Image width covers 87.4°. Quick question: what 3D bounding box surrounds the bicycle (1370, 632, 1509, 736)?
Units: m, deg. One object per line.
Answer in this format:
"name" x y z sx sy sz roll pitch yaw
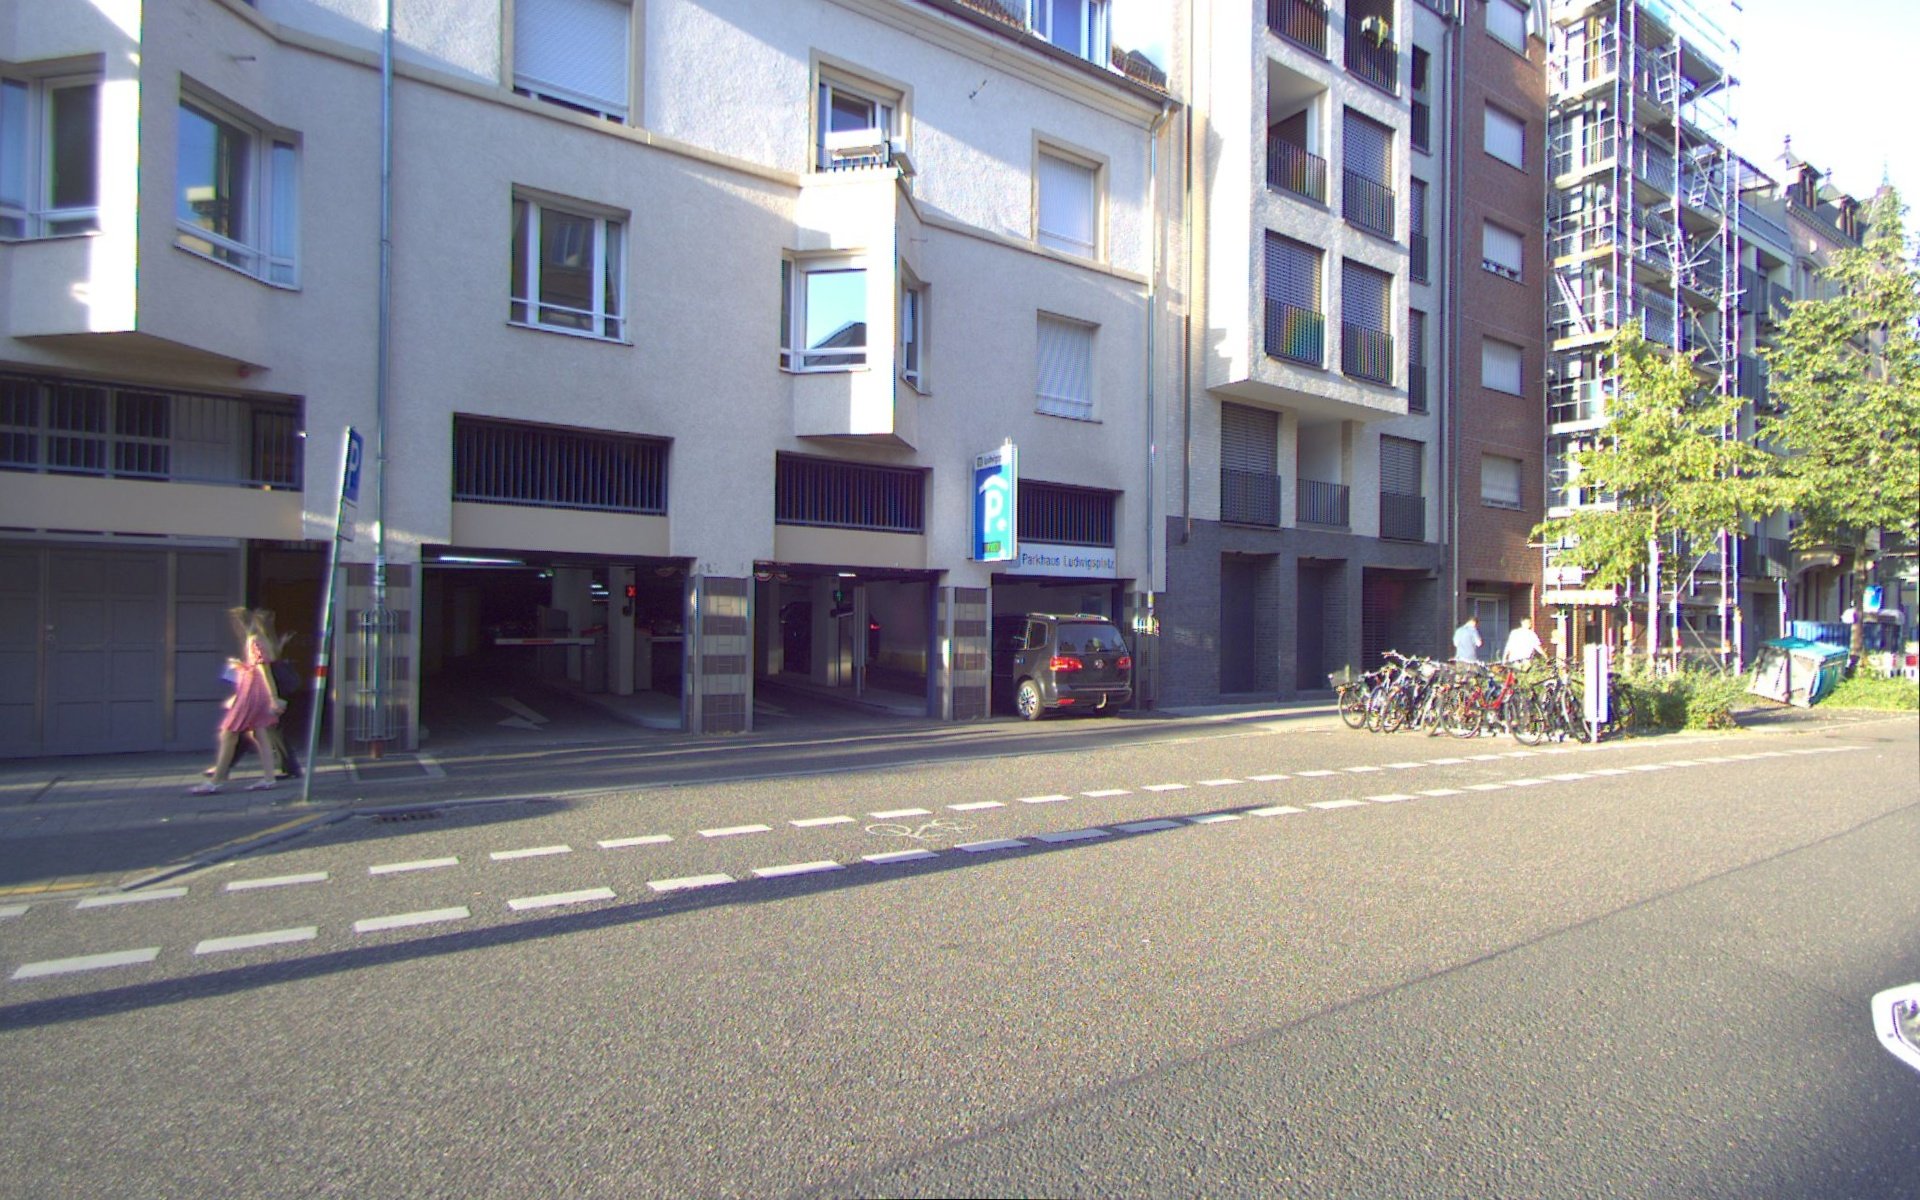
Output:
"bicycle" 7.293 1.207 15.166 3.120 1.391 0.773 2 0 -43

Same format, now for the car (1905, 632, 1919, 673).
"car" 37.185 2.006 36.278 1.868 1.485 4.080 2 0 -32

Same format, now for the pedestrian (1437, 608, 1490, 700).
"pedestrian" 10.145 1.070 20.247 0.689 1.790 0.710 2 0 -42

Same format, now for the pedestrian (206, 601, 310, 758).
"pedestrian" -7.712 0.844 11.072 0.845 1.637 0.713 2 0 -32

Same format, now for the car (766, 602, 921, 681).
"car" -2.868 0.916 23.796 1.977 1.623 4.472 2 0 -30

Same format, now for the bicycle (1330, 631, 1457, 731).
"bicycle" 6.821 1.212 15.678 3.138 1.414 0.579 2 0 -43

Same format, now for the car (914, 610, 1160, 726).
"car" 1.149 1.051 17.225 1.977 1.623 4.472 2 0 -31

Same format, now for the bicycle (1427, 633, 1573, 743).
"bicycle" 7.865 1.205 14.536 3.143 1.414 0.884 2 -1 -43

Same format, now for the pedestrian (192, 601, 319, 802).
"pedestrian" -6.209 0.855 8.878 0.847 1.663 0.712 2 0 -35

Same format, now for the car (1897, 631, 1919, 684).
"car" 28.656 1.676 27.476 1.868 1.485 4.080 2 0 -32

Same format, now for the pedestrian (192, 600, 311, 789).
"pedestrian" -6.664 0.853 9.472 0.847 1.663 0.712 2 0 -35

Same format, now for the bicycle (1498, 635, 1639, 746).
"bicycle" 8.458 1.175 13.869 3.164 1.368 0.836 2 -2 -43

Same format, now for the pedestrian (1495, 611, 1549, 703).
"pedestrian" 11.212 1.119 20.034 0.733 1.763 0.710 2 0 -42

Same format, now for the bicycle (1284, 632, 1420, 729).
"bicycle" 6.370 1.243 16.176 3.130 1.414 0.714 2 0 -43
